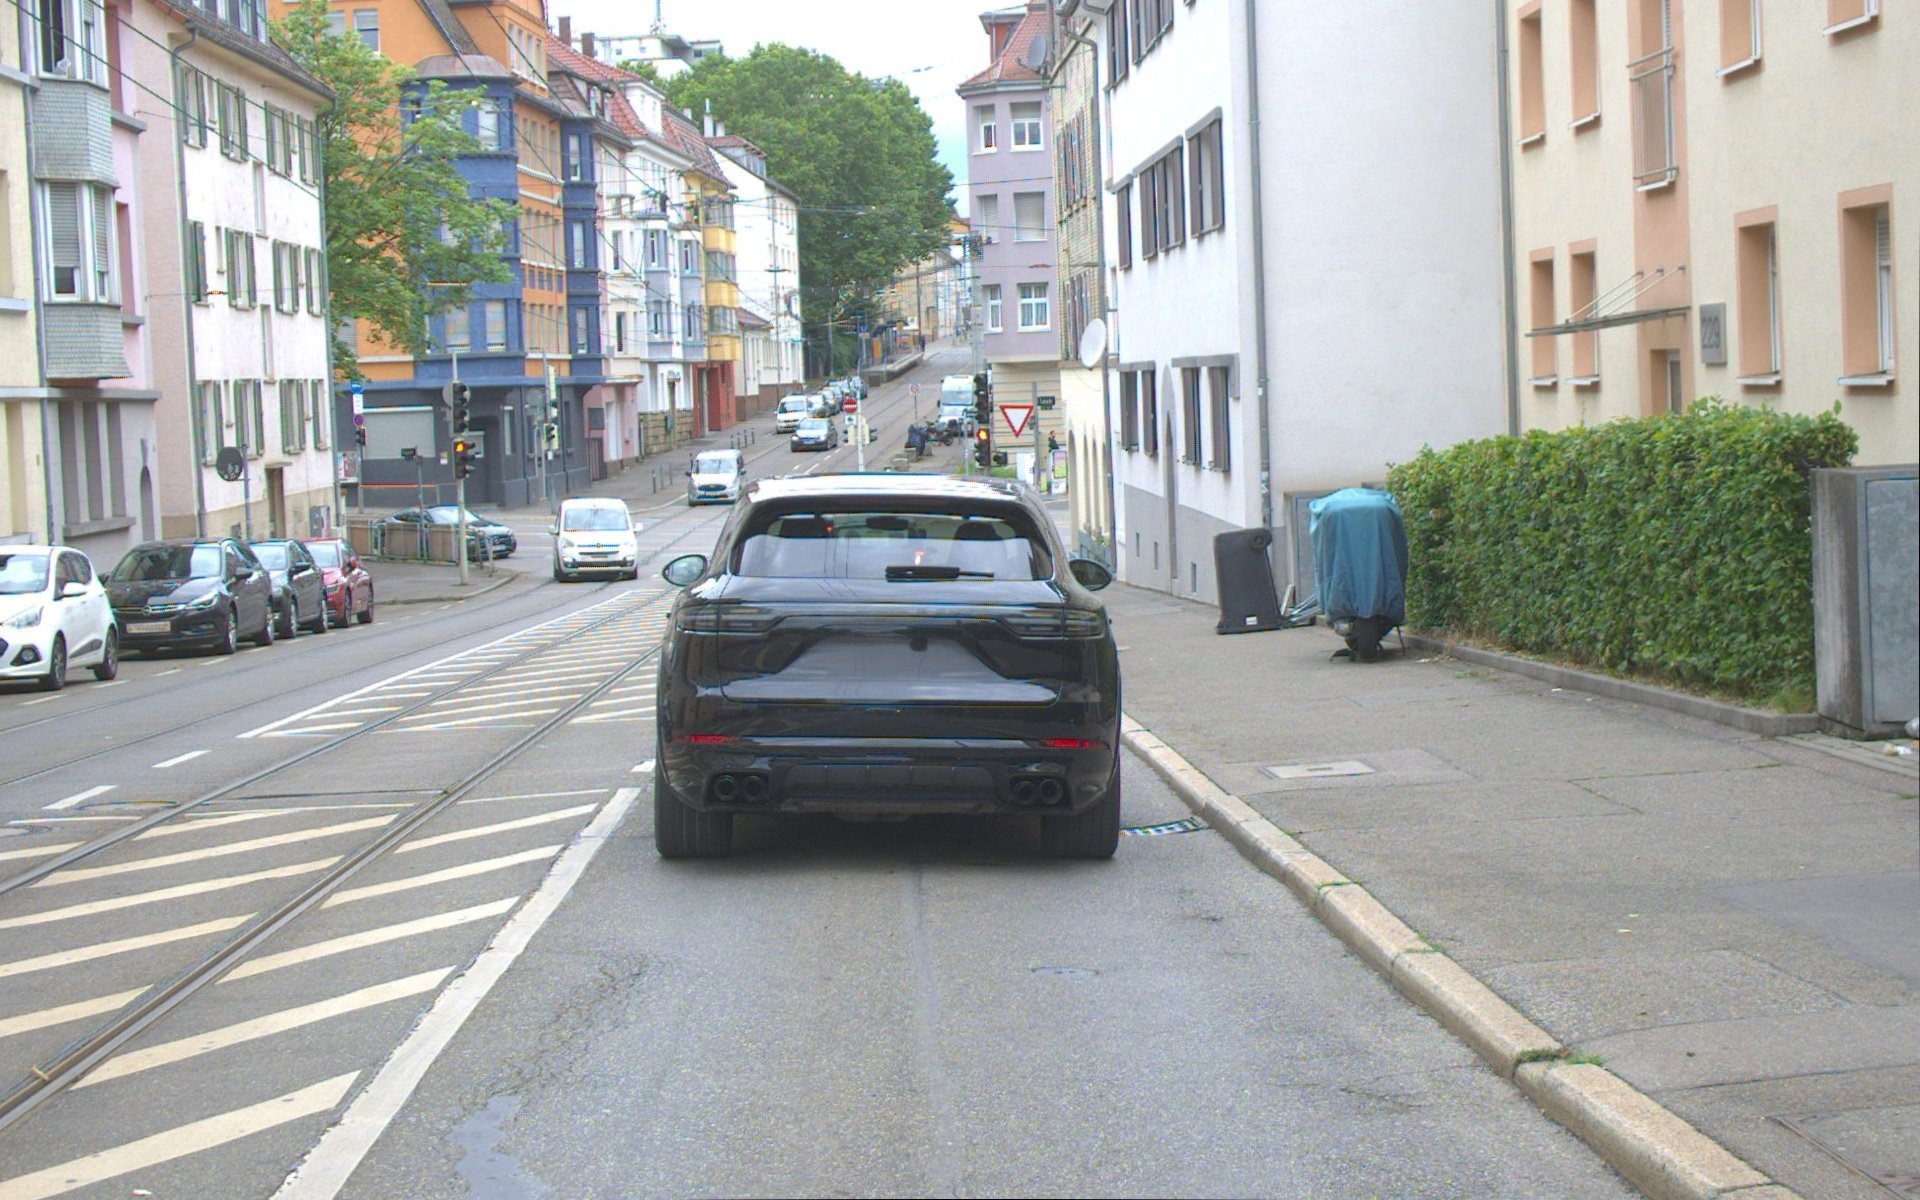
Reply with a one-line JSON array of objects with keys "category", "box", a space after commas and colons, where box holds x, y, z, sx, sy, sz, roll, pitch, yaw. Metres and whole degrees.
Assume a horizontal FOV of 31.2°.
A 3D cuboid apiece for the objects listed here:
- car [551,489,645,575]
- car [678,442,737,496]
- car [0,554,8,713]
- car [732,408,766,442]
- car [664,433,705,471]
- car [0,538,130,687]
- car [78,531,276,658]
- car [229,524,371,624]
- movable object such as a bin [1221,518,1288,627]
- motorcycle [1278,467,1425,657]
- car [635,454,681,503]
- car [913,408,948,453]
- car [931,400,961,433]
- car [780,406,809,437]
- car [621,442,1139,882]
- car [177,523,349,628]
[{"category": "car", "box": [-8.053, -1.516, 76.731, 1.920, 1.812, 4.218, -2, 1, -5]}, {"category": "car", "box": [-8.817, -4.549, 120.169, 1.751, 1.753, 4.254, -2, 1, -1]}, {"category": "car", "box": [-9.637, 0.307, 29.909, 1.620, 1.599, 4.351, -3, 1, -3]}, {"category": "car", "box": [-10.011, -8.278, 163.069, 1.394, 1.445, 3.359, -2, 1, -1]}, {"category": "car", "box": [-11.371, -6.122, 142.026, 1.394, 1.445, 3.359, -2, 1, -1]}, {"category": "car", "box": [-9.907, 0.136, 35.798, 1.620, 1.458, 3.685, -3, 1, -1]}, {"category": "car", "box": [-9.962, -0.084, 44.031, 1.620, 1.468, 4.556, -3, 1, -3]}, {"category": "car", "box": [-10.618, -0.423, 55.533, 1.620, 1.485, 4.048, -3, 1, -3]}, {"category": "movable object such as a bin", "box": [2.994, -0.286, 34.992, 0.588, 1.076, 0.692, -2, 1, 1]}, {"category": "motorcycle", "box": [3.175, -0.323, 28.127, 0.838, 1.451, 2.553, -2, 1, -1]}, {"category": "car", "box": [-11.335, -4.552, 129.183, 1.394, 1.716, 3.359, -2, 1, -1]}, {"category": "car", "box": [-1.230, -7.008, 142.464, 1.394, 1.716, 3.359, -2, 1, -1]}, {"category": "car", "box": [-0.710, -8.981, 168.233, 1.394, 1.445, 3.359, -2, 1, -1]}, {"category": "car", "box": [-8.650, -9.326, 179.830, 1.394, 1.445, 3.359, -2, 1, -1]}, {"category": "car", "box": [-0.377, 0.206, 15.625, 1.993, 1.670, 4.000, -2, 1, -2]}, {"category": "car", "box": [-10.140, -0.384, 50.252, 1.736, 1.405, 4.000, -2, 1, -1]}]
